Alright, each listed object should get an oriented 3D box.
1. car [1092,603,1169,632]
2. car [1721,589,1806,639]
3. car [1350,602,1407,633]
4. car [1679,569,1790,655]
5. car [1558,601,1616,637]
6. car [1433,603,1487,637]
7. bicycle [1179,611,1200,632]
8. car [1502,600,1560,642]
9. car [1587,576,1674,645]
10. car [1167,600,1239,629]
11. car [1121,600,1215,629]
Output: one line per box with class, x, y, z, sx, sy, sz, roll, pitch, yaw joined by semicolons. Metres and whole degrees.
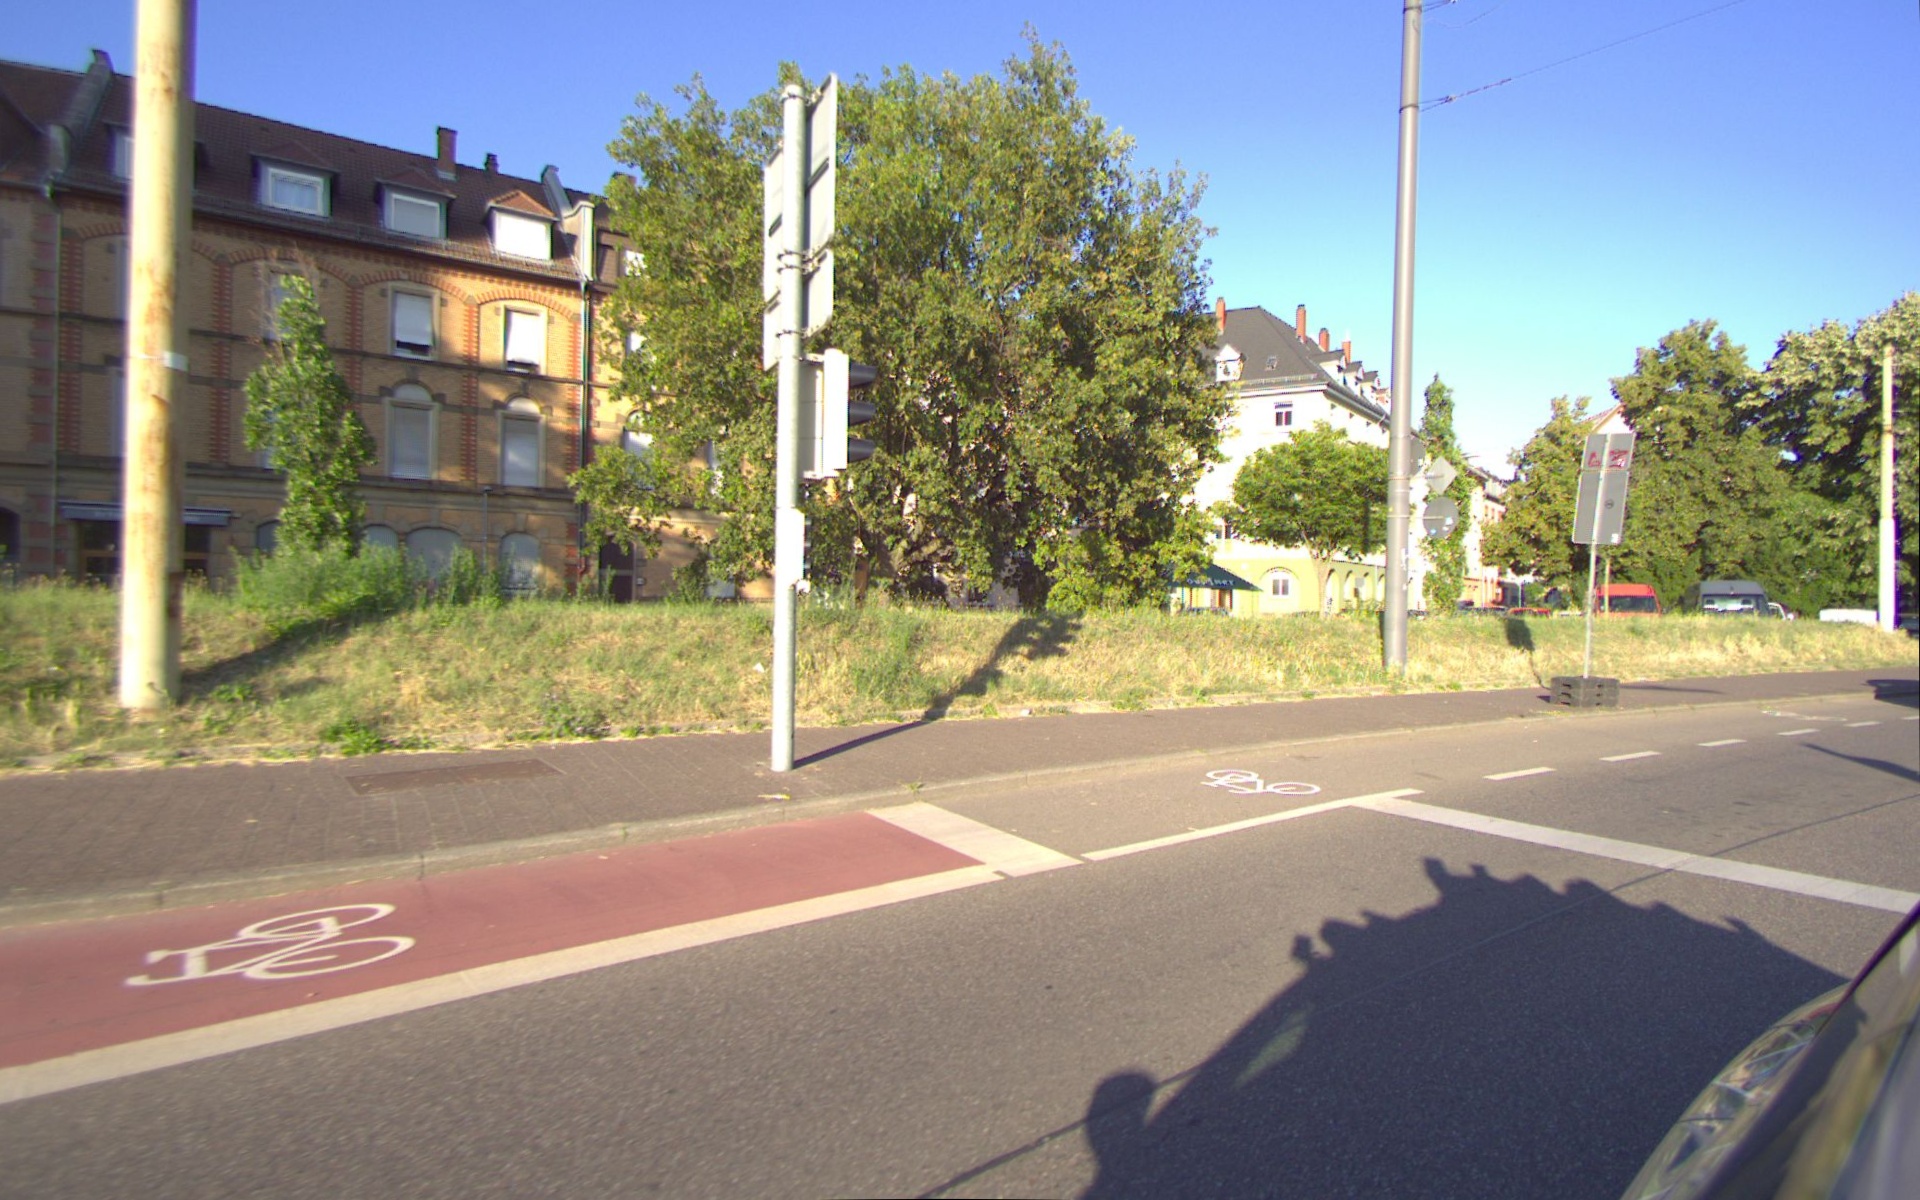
car;8.770;0.854;51.984;3.609;1.402;1.539;1;0;32
car;34.486;0.562;43.573;1.907;2.004;4.706;1;0;26
car;16.283;0.649;39.266;1.691;1.103;3.670;1;1;28
car;26.753;0.347;35.194;2.025;2.699;6.153;1;1;28
car;29.007;0.826;46.951;1.907;1.559;3.871;0;0;26
car;19.022;0.725;38.441;1.691;1.176;3.670;1;1;28
bicycle;11.372;1.074;50.152;0.486;0.981;1.809;0;0;30
car;21.020;0.729;37.373;1.763;1.391;3.851;1;1;28
car;23.678;0.331;35.910;2.025;2.241;5.361;1;1;28
car;13.560;0.795;56.481;3.615;1.549;1.515;1;0;32
car;8.578;0.581;41.778;3.509;1.058;1.508;1;1;28
